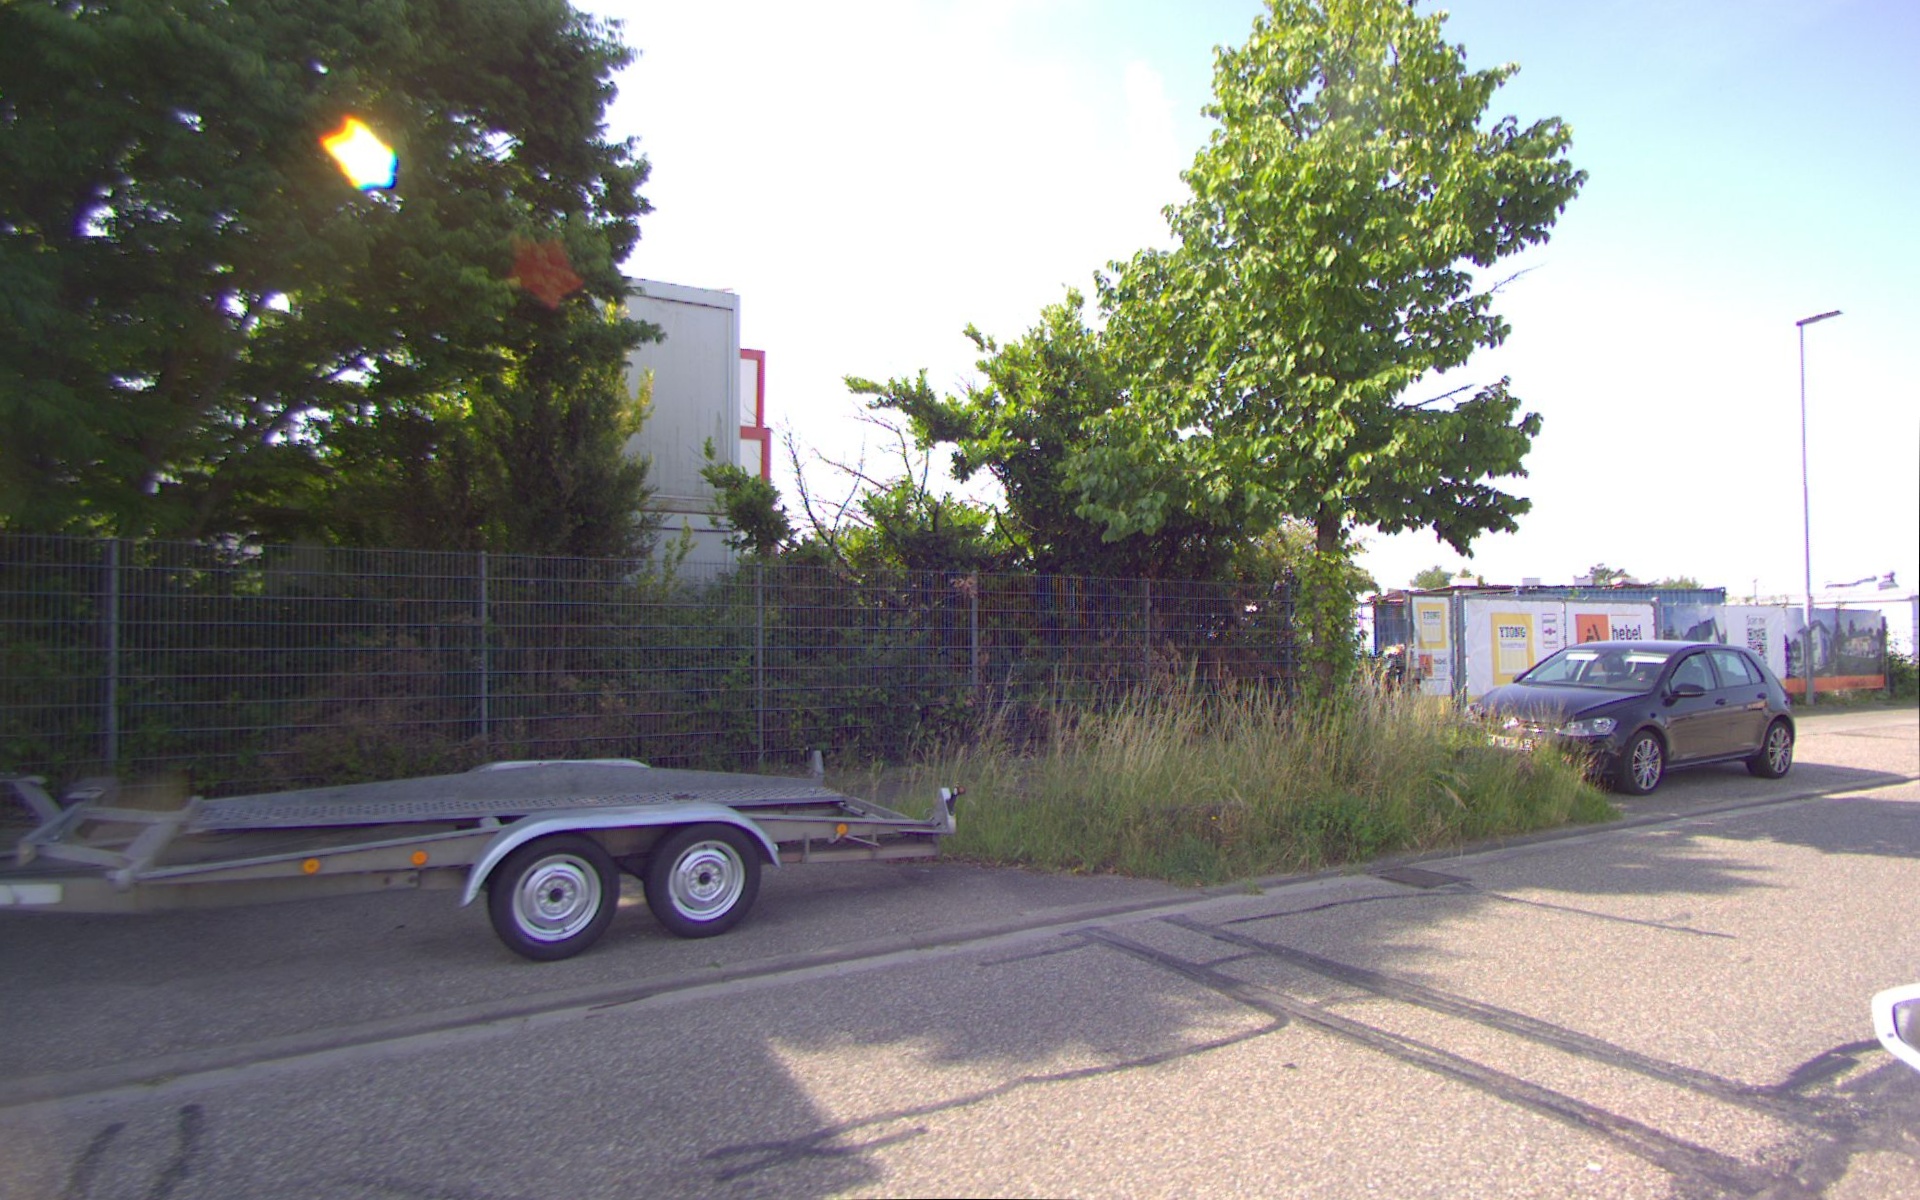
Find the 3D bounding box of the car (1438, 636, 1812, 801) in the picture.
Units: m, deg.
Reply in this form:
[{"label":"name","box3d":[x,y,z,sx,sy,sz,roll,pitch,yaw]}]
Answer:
[{"label":"car","box3d":[7.278,1.157,10.931,4.042,1.489,1.681,1,-3,-28]}]

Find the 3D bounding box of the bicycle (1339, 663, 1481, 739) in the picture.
[{"label":"bicycle","box3d":[6.513,1.423,14.490,2.424,0.986,0.559,1,-3,-31]}]

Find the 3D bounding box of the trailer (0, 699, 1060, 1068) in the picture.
[{"label":"trailer","box3d":[-2.740,1.188,5.311,6.170,0.998,2.637,1,-3,-30]}]
